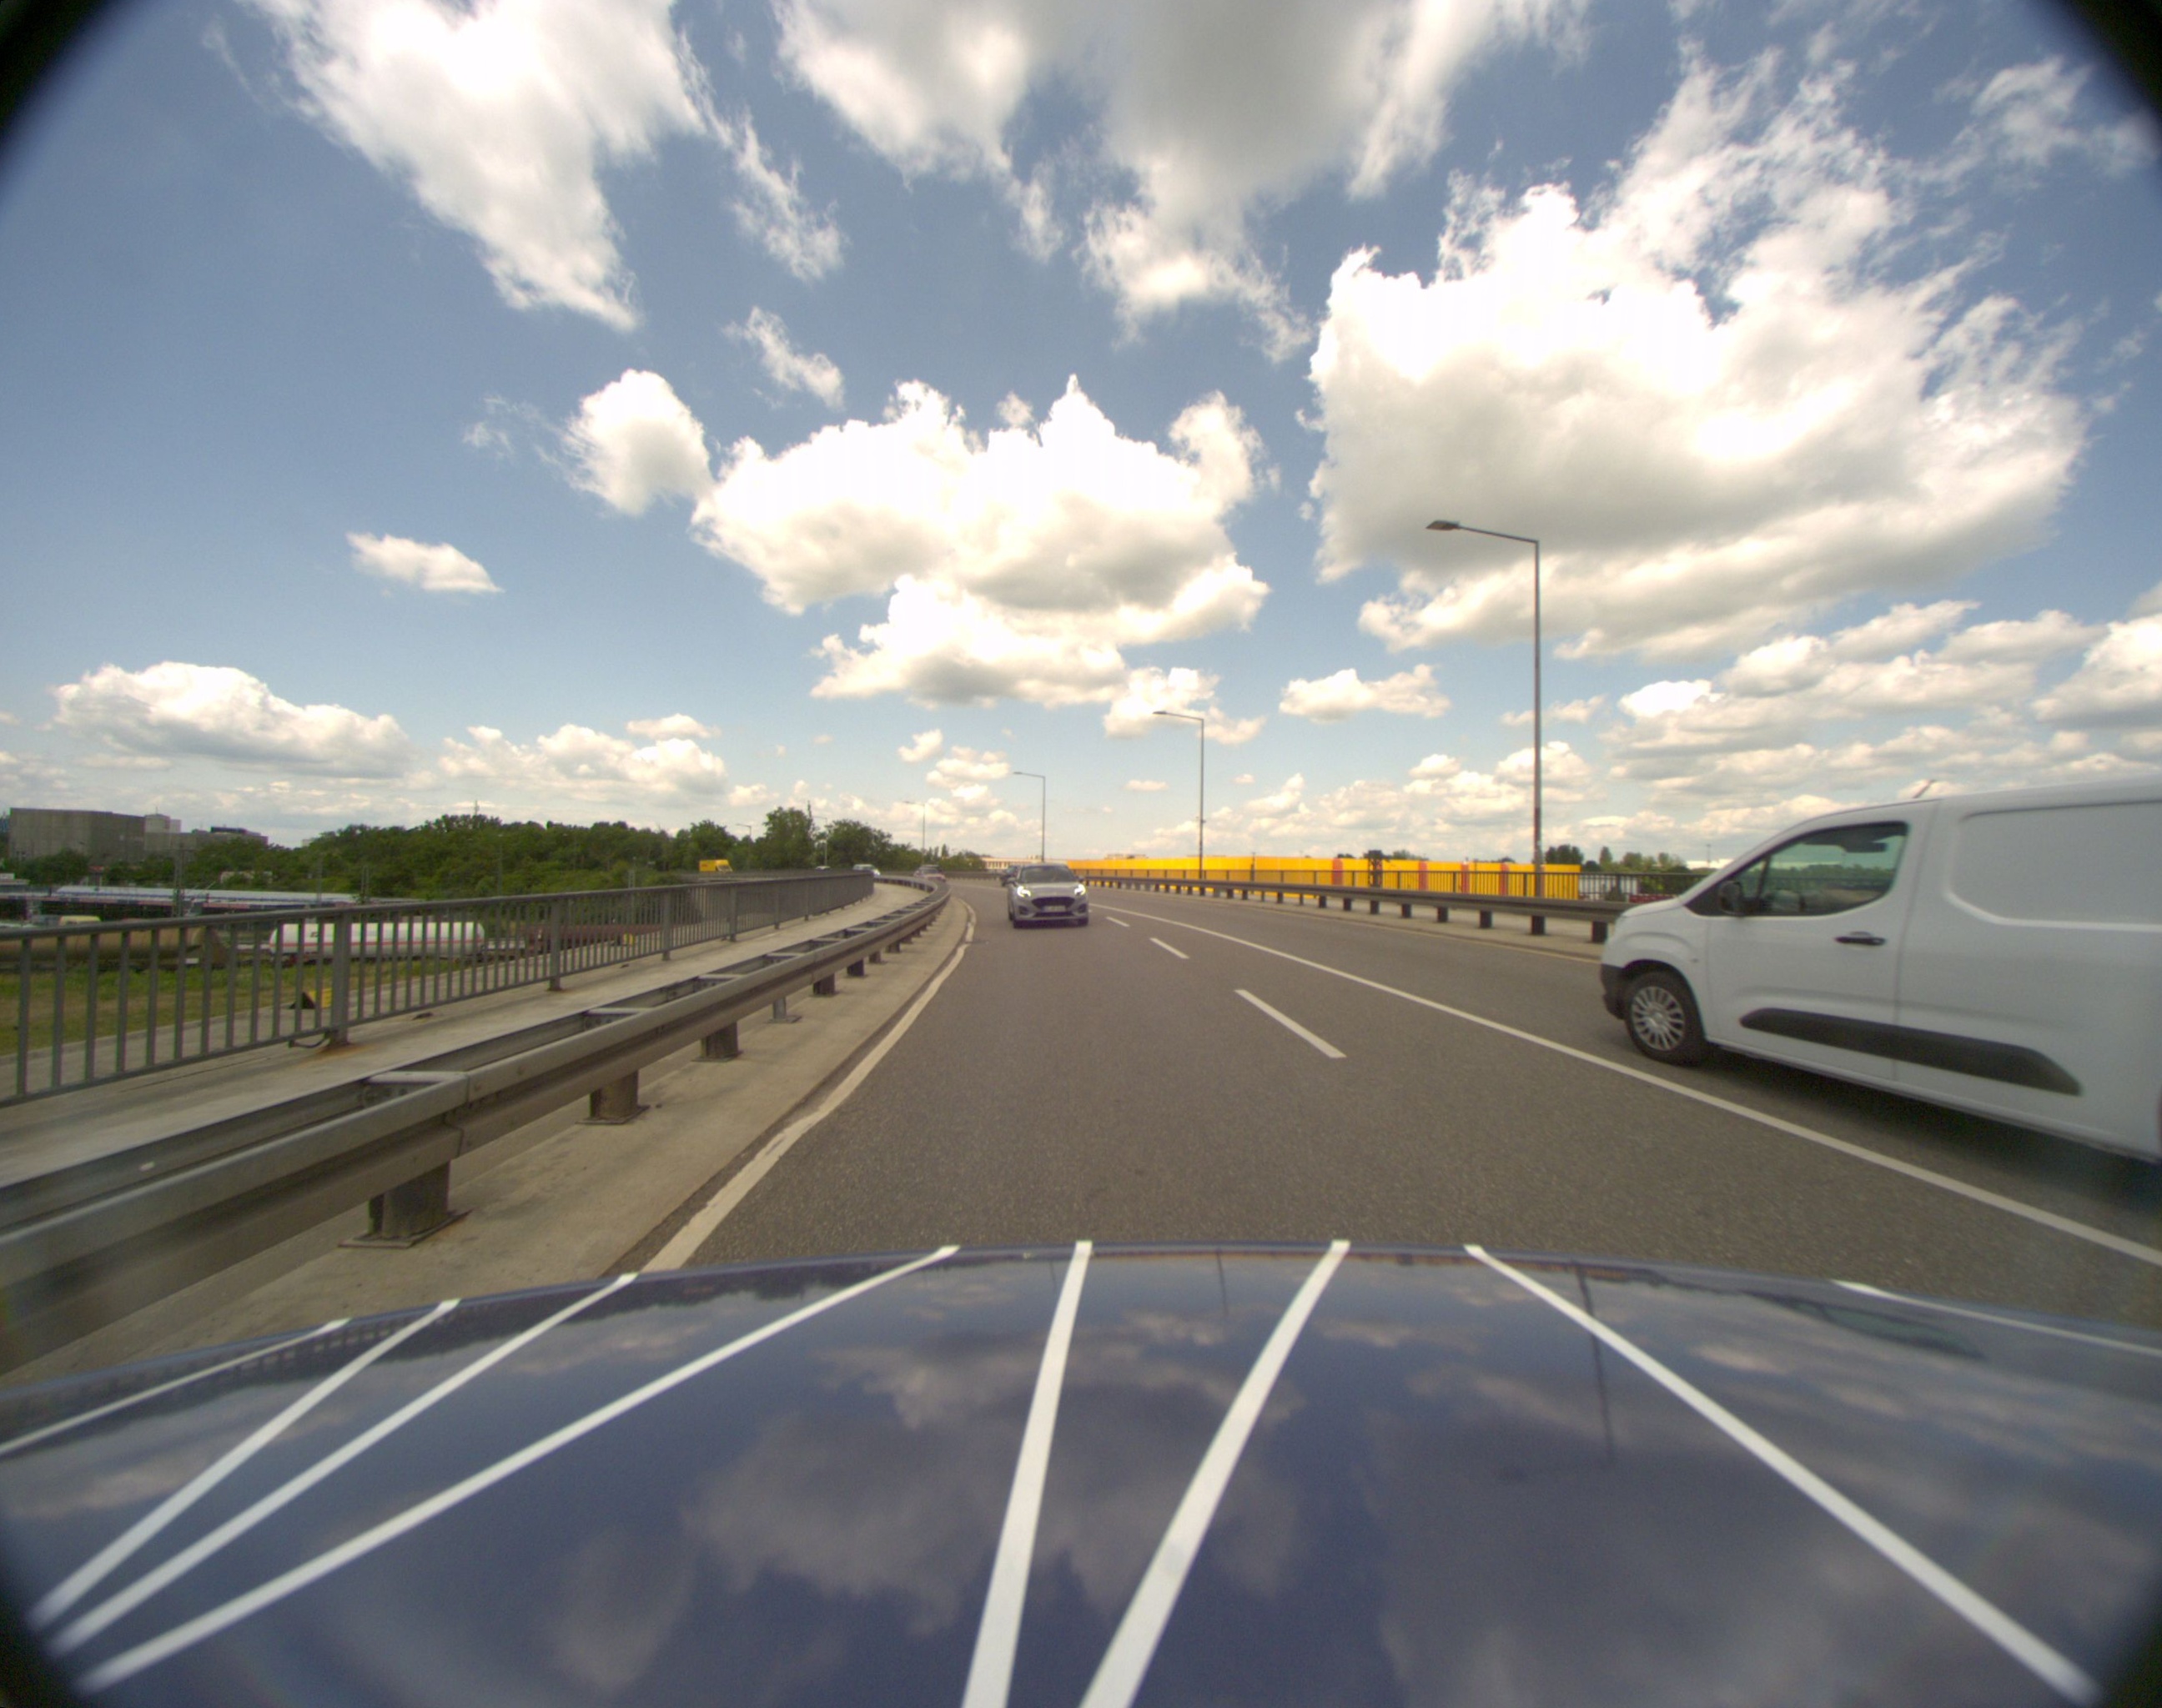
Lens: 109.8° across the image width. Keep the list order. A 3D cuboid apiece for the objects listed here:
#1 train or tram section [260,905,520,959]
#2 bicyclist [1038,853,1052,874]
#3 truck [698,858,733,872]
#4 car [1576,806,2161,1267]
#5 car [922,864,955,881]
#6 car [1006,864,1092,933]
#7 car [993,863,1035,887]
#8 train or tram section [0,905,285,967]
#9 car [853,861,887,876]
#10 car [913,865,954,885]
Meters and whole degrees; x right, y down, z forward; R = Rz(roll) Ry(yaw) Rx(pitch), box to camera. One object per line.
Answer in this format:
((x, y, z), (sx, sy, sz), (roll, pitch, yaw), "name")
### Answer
((-58.712, 6.607, 65.255), (16.974, 4.130, 3.213), (1, 2, -14), "train or tram section")
((-2.770, 0.721, 58.372), (0.770, 1.593, 0.946), (0, 0, -20), "bicyclist")
((-53.966, 1.564, 112.144), (6.127, 2.002, 2.004), (0, 0, 36), "truck")
((4.932, 0.685, 3.902), (1.818, 1.743, 4.304), (-1, 0, -3), "car")
((-13.370, 1.722, 71.243), (1.825, 1.442, 4.728), (-1, -1, -26), "car")
((-0.912, 1.043, 19.383), (1.829, 1.516, 3.998), (-2, 0, -7), "car")
((-4.398, 1.312, 49.319), (1.822, 1.443, 3.920), (-2, 0, -18), "car")
((-75.297, 6.329, 59.809), (17.717, 4.130, 3.205), (1, 2, -22), "train or tram section")
((-20.982, 1.451, 75.412), (1.962, 1.330, 3.990), (-3, 1, -35), "car")
((-10.759, 1.508, 55.304), (1.831, 1.330, 3.991), (-1, 0, -27), "car")
